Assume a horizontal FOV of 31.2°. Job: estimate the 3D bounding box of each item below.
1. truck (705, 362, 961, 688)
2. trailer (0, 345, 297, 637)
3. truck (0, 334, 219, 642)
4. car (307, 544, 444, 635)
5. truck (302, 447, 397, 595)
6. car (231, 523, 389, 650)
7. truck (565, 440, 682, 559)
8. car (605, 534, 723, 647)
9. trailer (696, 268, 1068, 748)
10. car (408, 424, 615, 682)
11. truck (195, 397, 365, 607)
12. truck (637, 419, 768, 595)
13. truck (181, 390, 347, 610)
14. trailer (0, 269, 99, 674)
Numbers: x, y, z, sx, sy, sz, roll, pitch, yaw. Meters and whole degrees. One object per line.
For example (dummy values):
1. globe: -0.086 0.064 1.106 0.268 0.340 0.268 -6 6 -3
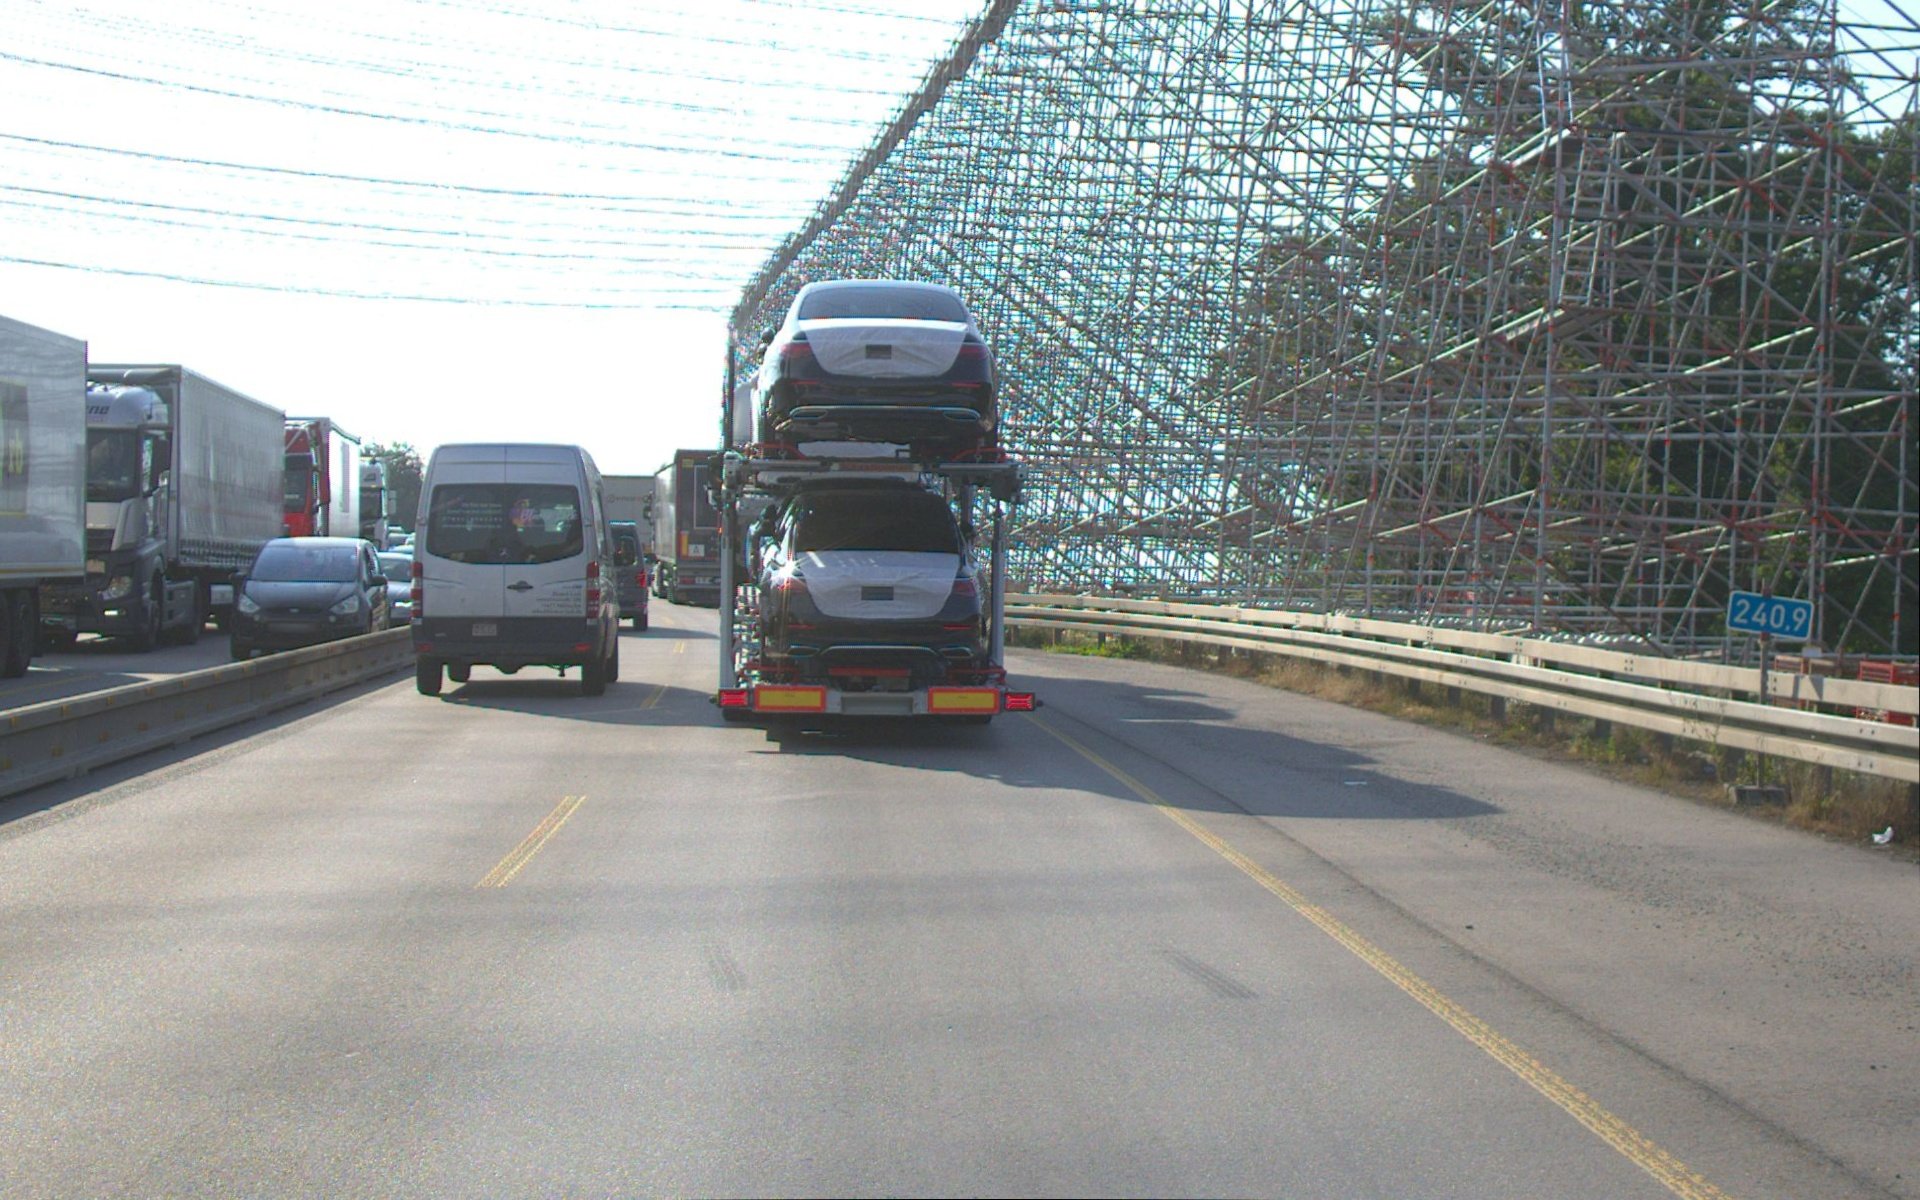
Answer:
1. truck: -1.644 -0.897 42.927 2.881 3.690 7.326 1 1 -3
2. trailer: -13.029 -1.643 56.138 2.798 4.127 13.969 1 1 -5
3. truck: -12.465 -1.554 49.333 2.787 4.127 5.935 1 1 -5
4. car: -9.657 -0.206 57.094 1.731 1.373 4.892 2 1 -4
5. truck: -18.081 -2.316 101.852 2.661 4.215 6.106 1 1 -10
6. car: -8.912 -0.220 47.452 1.752 1.652 4.864 0 1 -6
7. truck: -12.828 -3.827 132.341 3.686 4.206 13.670 -2 1 -3
8. car: -5.560 -0.189 64.220 1.993 2.007 4.001 1 0 -7
9. trailer: -1.099 -0.808 34.346 2.868 3.712 14.949 1 1 -4
10. car: -4.737 -0.489 36.804 1.956 2.612 4.001 0 0 -4
11. truck: -14.687 -2.033 75.091 2.786 4.127 13.811 1 1 -8
12. truck: -7.069 -2.503 92.979 2.731 4.370 11.524 2 1 -8
13. truck: -13.809 -1.937 68.639 2.786 4.127 6.681 1 1 -8
14. trailer: -11.543 -1.369 35.268 2.765 4.319 13.883 1 1 -4
